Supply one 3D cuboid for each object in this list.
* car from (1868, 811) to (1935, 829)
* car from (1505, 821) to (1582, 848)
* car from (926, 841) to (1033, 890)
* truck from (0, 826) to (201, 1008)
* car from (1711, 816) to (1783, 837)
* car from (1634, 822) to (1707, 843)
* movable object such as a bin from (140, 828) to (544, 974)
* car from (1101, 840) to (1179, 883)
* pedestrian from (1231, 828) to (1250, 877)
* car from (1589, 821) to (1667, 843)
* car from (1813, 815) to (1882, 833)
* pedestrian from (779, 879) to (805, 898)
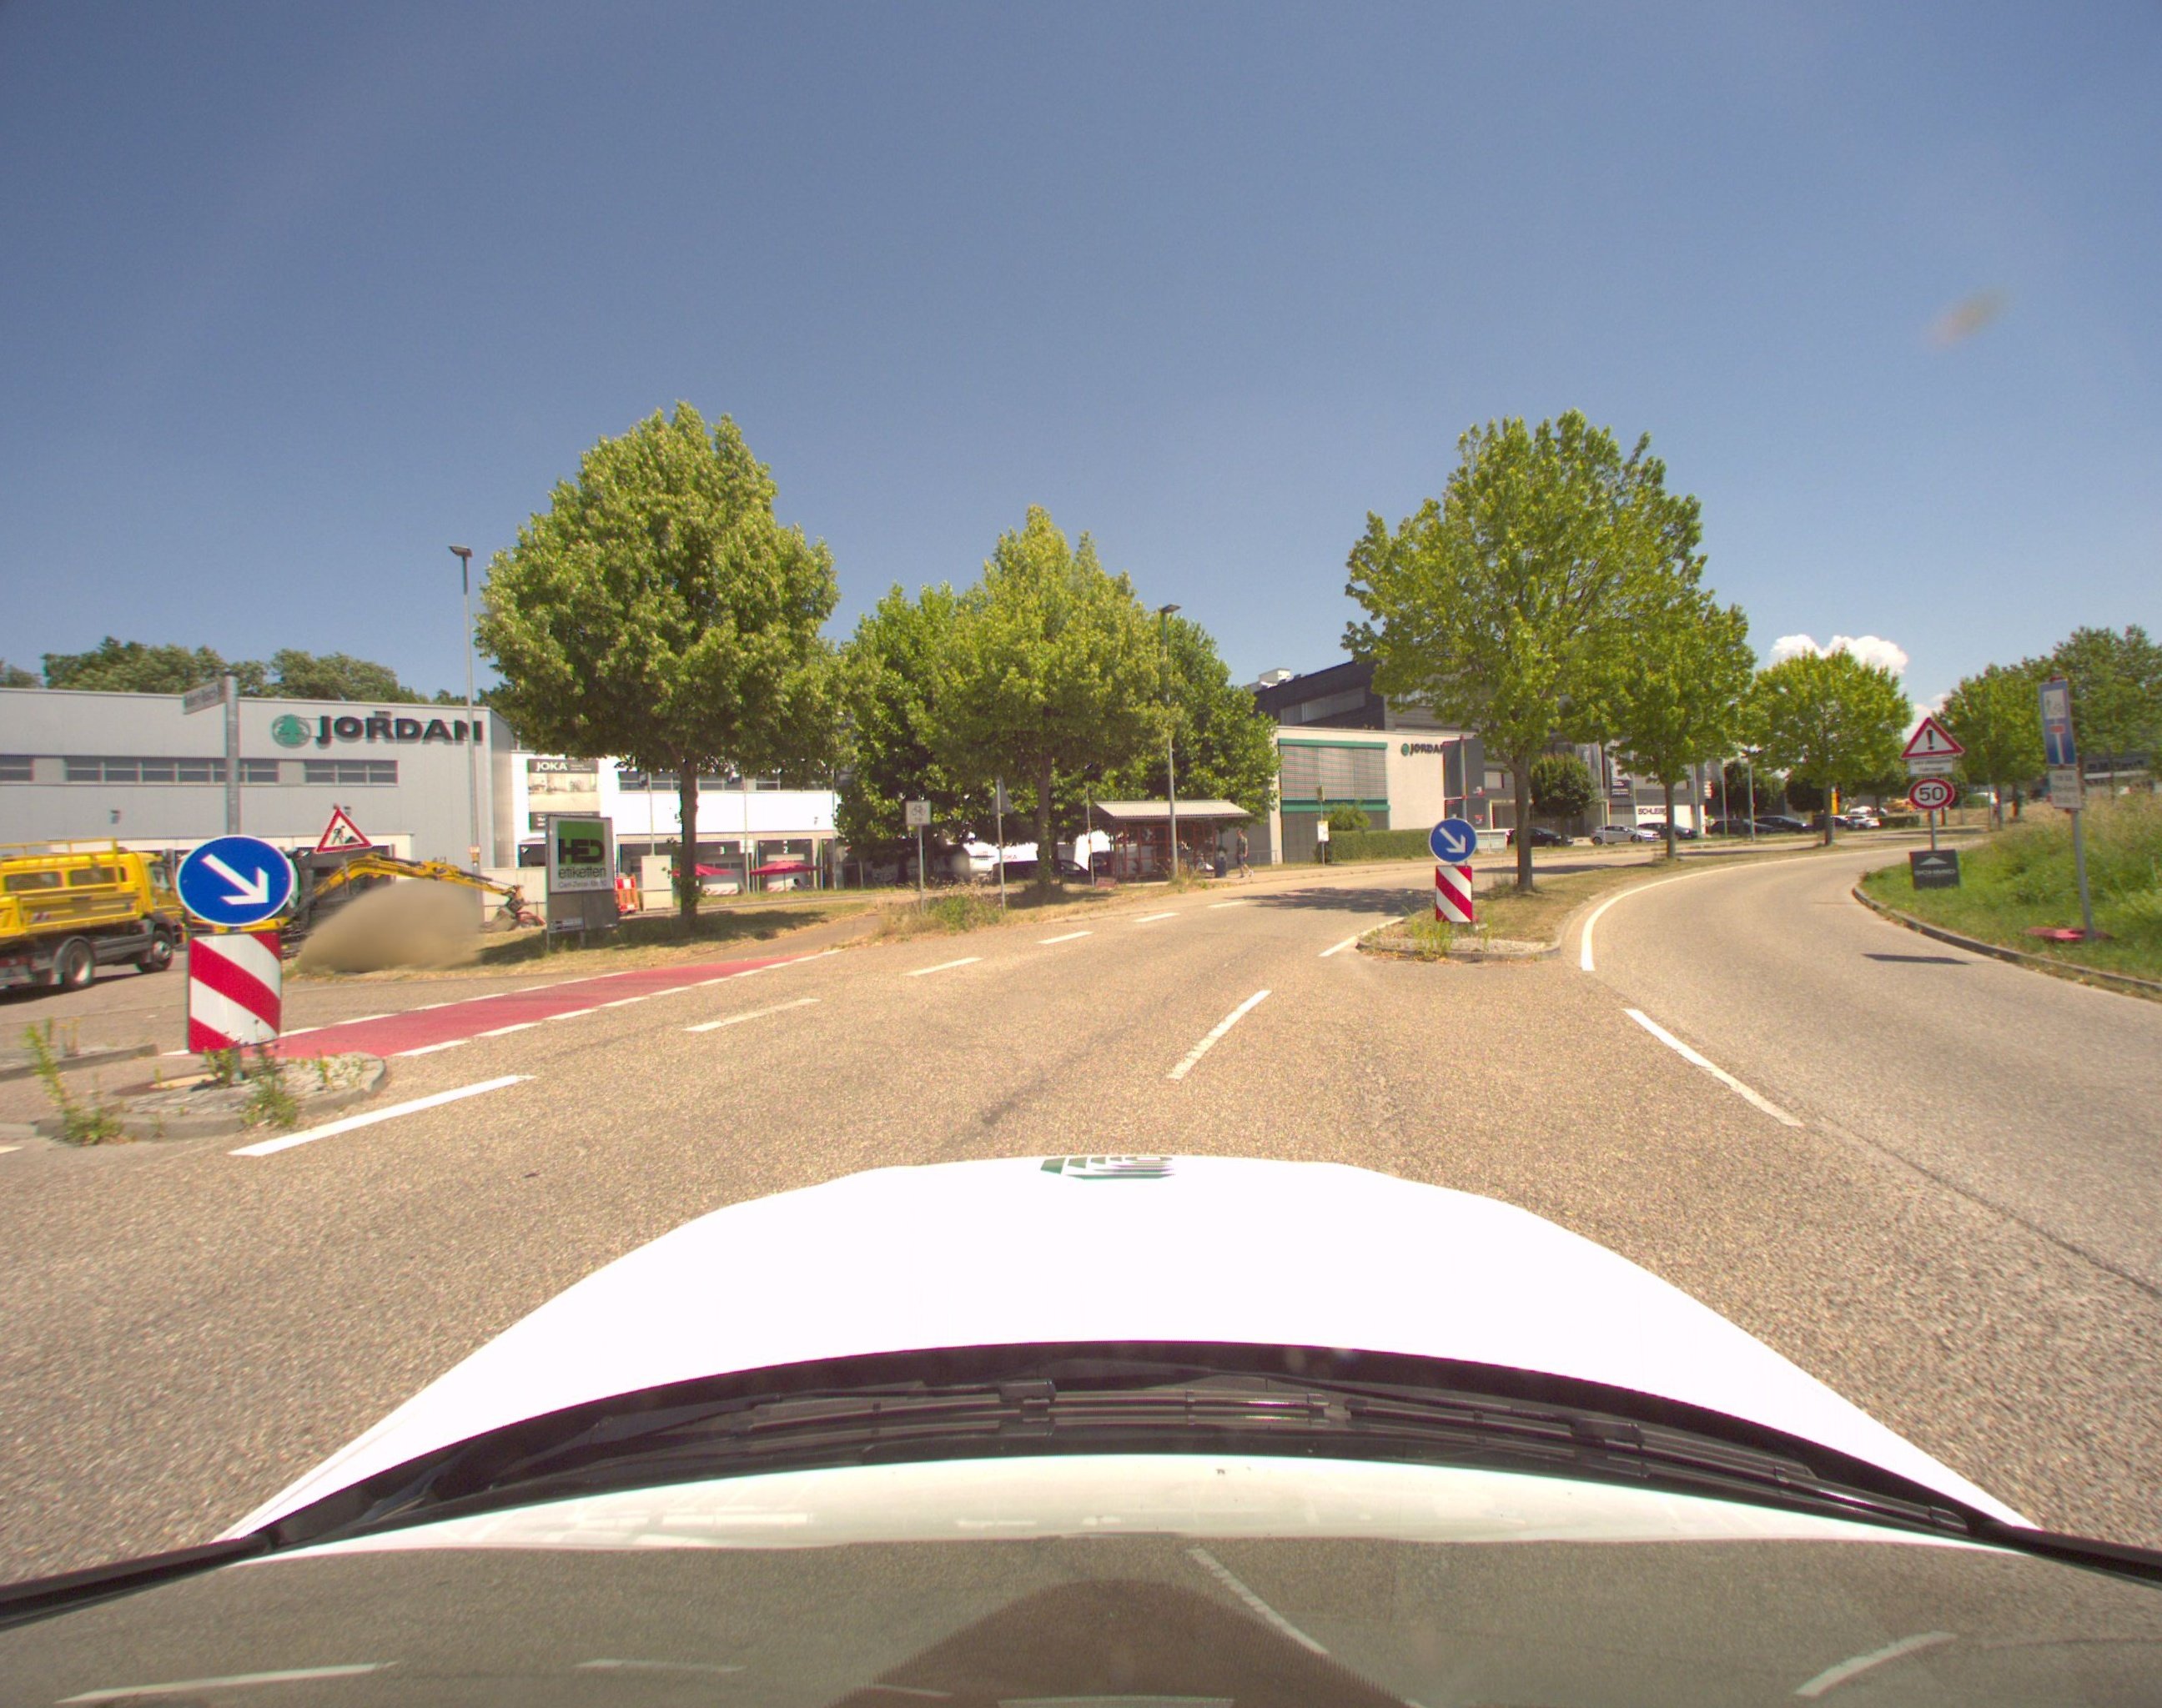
[{"bbox_3d":[72.840,-2.968,72.328,1.613,1.274,3.810,-4,0,-27],"label":"car"},{"bbox_3d":[29.048,-1.228,51.257,1.709,1.379,3.884,-4,0,-27],"label":"car"},{"bbox_3d":[-4.241,0.483,33.955,4.006,1.728,1.826,-4,0,-24],"label":"car"},{"bbox_3d":[-21.238,1.175,16.453,2.604,3.135,6.363,-6,3,-29],"label":"truck"},{"bbox_3d":[50.804,-2.055,62.174,1.709,1.274,3.858,-4,0,-27],"label":"car"},{"bbox_3d":[42.176,-1.546,58.311,1.709,1.182,3.858,-4,0,-27],"label":"car"},{"bbox_3d":[-16.831,0.972,19.123,6.582,2.581,1.986,-5,0,-21],"label":"movable object such as a bin"},{"bbox_3d":[2.949,0.415,41.324,1.556,2.014,4.217,0,-3,-36],"label":"car"},{"bbox_3d":[5.535,-0.037,28.309,0.527,1.670,0.579,-2,-3,2],"label":"pedestrian"},{"bbox_3d":[37.541,-1.491,56.033,1.497,1.183,4.238,0,-3,-26],"label":"car"},{"bbox_3d":[65.497,-2.543,69.643,1.709,1.274,3.858,-4,0,-27],"label":"car"},{"bbox_3d":[-11.593,1.375,32.698,0.862,0.695,0.407,-4,0,-3],"label":"pedestrian"}]
